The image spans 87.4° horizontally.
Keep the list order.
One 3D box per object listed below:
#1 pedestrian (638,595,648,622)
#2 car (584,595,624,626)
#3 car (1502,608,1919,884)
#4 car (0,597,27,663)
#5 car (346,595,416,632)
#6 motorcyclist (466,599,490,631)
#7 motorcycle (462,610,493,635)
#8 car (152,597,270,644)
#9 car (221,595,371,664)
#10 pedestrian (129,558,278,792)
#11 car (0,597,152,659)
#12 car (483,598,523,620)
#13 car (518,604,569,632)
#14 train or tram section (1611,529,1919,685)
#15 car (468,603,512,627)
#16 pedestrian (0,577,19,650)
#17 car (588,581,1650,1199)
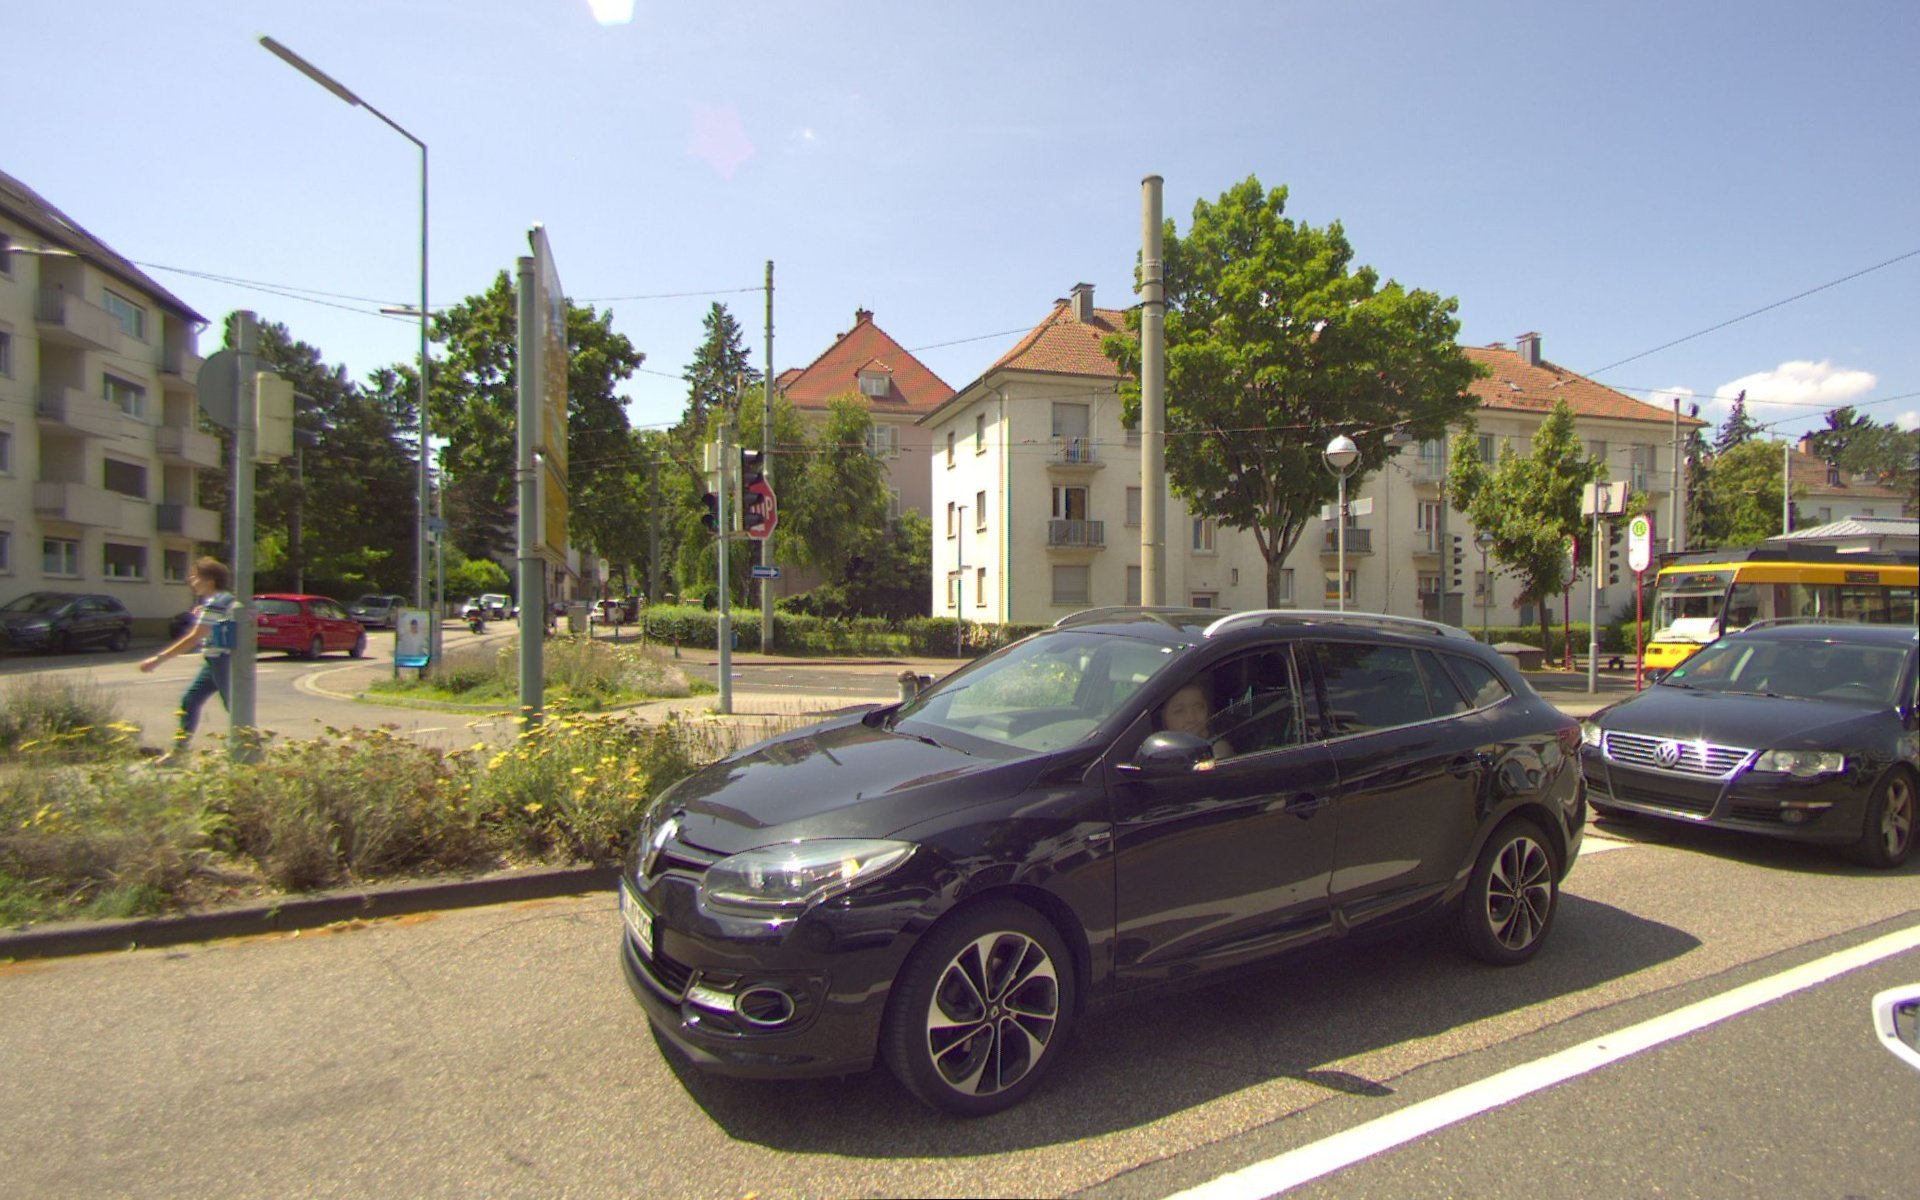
[{"bbox_3d":[-19.968,0.530,63.218,0.501,1.678,0.465,1,0,-10],"label":"pedestrian"},{"bbox_3d":[-22.136,0.627,62.605,1.967,1.831,3.987,1,0,-15],"label":"car"},{"bbox_3d":[6.416,0.859,7.580,4.455,1.539,1.985,1,0,-28],"label":"car"},{"bbox_3d":[-23.008,0.659,22.121,1.967,1.539,3.987,2,-1,-16],"label":"car"},{"bbox_3d":[-29.506,0.674,51.330,1.773,1.740,4.029,4,-1,-11],"label":"car"},{"bbox_3d":[-22.434,0.690,46.743,0.700,1.465,1.017,1,0,-9],"label":"motorcyclist"},{"bbox_3d":[-22.446,1.036,46.761,0.700,1.149,2.194,1,0,-9],"label":"motorcycle"},{"bbox_3d":[-26.157,0.712,35.269,1.967,1.530,3.987,1,-1,-15],"label":"car"},{"bbox_3d":[-16.643,0.705,25.431,1.773,1.578,4.028,1,-1,-12],"label":"car"},{"bbox_3d":[-5.962,0.560,7.969,0.828,1.727,0.756,1,0,-30],"label":"pedestrian"},{"bbox_3d":[-23.813,0.708,26.677,1.966,1.530,4.369,1,-1,-14],"label":"car"},{"bbox_3d":[-36.250,0.733,79.789,1.772,1.578,4.031,4,-1,-9],"label":"car"},{"bbox_3d":[-24.076,1.029,58.191,1.772,1.578,4.031,1,0,-9],"label":"car"},{"bbox_3d":[23.886,0.248,26.759,13.954,3.616,2.808,1,0,-18],"label":"train or tram section"},{"bbox_3d":[-34.368,1.065,73.558,1.772,1.578,4.031,4,-1,-9],"label":"car"},{"bbox_3d":[-26.119,0.358,26.931,0.922,1.957,0.974,1,0,-15],"label":"pedestrian"},{"bbox_3d":[0.831,0.747,4.421,4.373,1.520,1.984,1,0,-30],"label":"car"}]
